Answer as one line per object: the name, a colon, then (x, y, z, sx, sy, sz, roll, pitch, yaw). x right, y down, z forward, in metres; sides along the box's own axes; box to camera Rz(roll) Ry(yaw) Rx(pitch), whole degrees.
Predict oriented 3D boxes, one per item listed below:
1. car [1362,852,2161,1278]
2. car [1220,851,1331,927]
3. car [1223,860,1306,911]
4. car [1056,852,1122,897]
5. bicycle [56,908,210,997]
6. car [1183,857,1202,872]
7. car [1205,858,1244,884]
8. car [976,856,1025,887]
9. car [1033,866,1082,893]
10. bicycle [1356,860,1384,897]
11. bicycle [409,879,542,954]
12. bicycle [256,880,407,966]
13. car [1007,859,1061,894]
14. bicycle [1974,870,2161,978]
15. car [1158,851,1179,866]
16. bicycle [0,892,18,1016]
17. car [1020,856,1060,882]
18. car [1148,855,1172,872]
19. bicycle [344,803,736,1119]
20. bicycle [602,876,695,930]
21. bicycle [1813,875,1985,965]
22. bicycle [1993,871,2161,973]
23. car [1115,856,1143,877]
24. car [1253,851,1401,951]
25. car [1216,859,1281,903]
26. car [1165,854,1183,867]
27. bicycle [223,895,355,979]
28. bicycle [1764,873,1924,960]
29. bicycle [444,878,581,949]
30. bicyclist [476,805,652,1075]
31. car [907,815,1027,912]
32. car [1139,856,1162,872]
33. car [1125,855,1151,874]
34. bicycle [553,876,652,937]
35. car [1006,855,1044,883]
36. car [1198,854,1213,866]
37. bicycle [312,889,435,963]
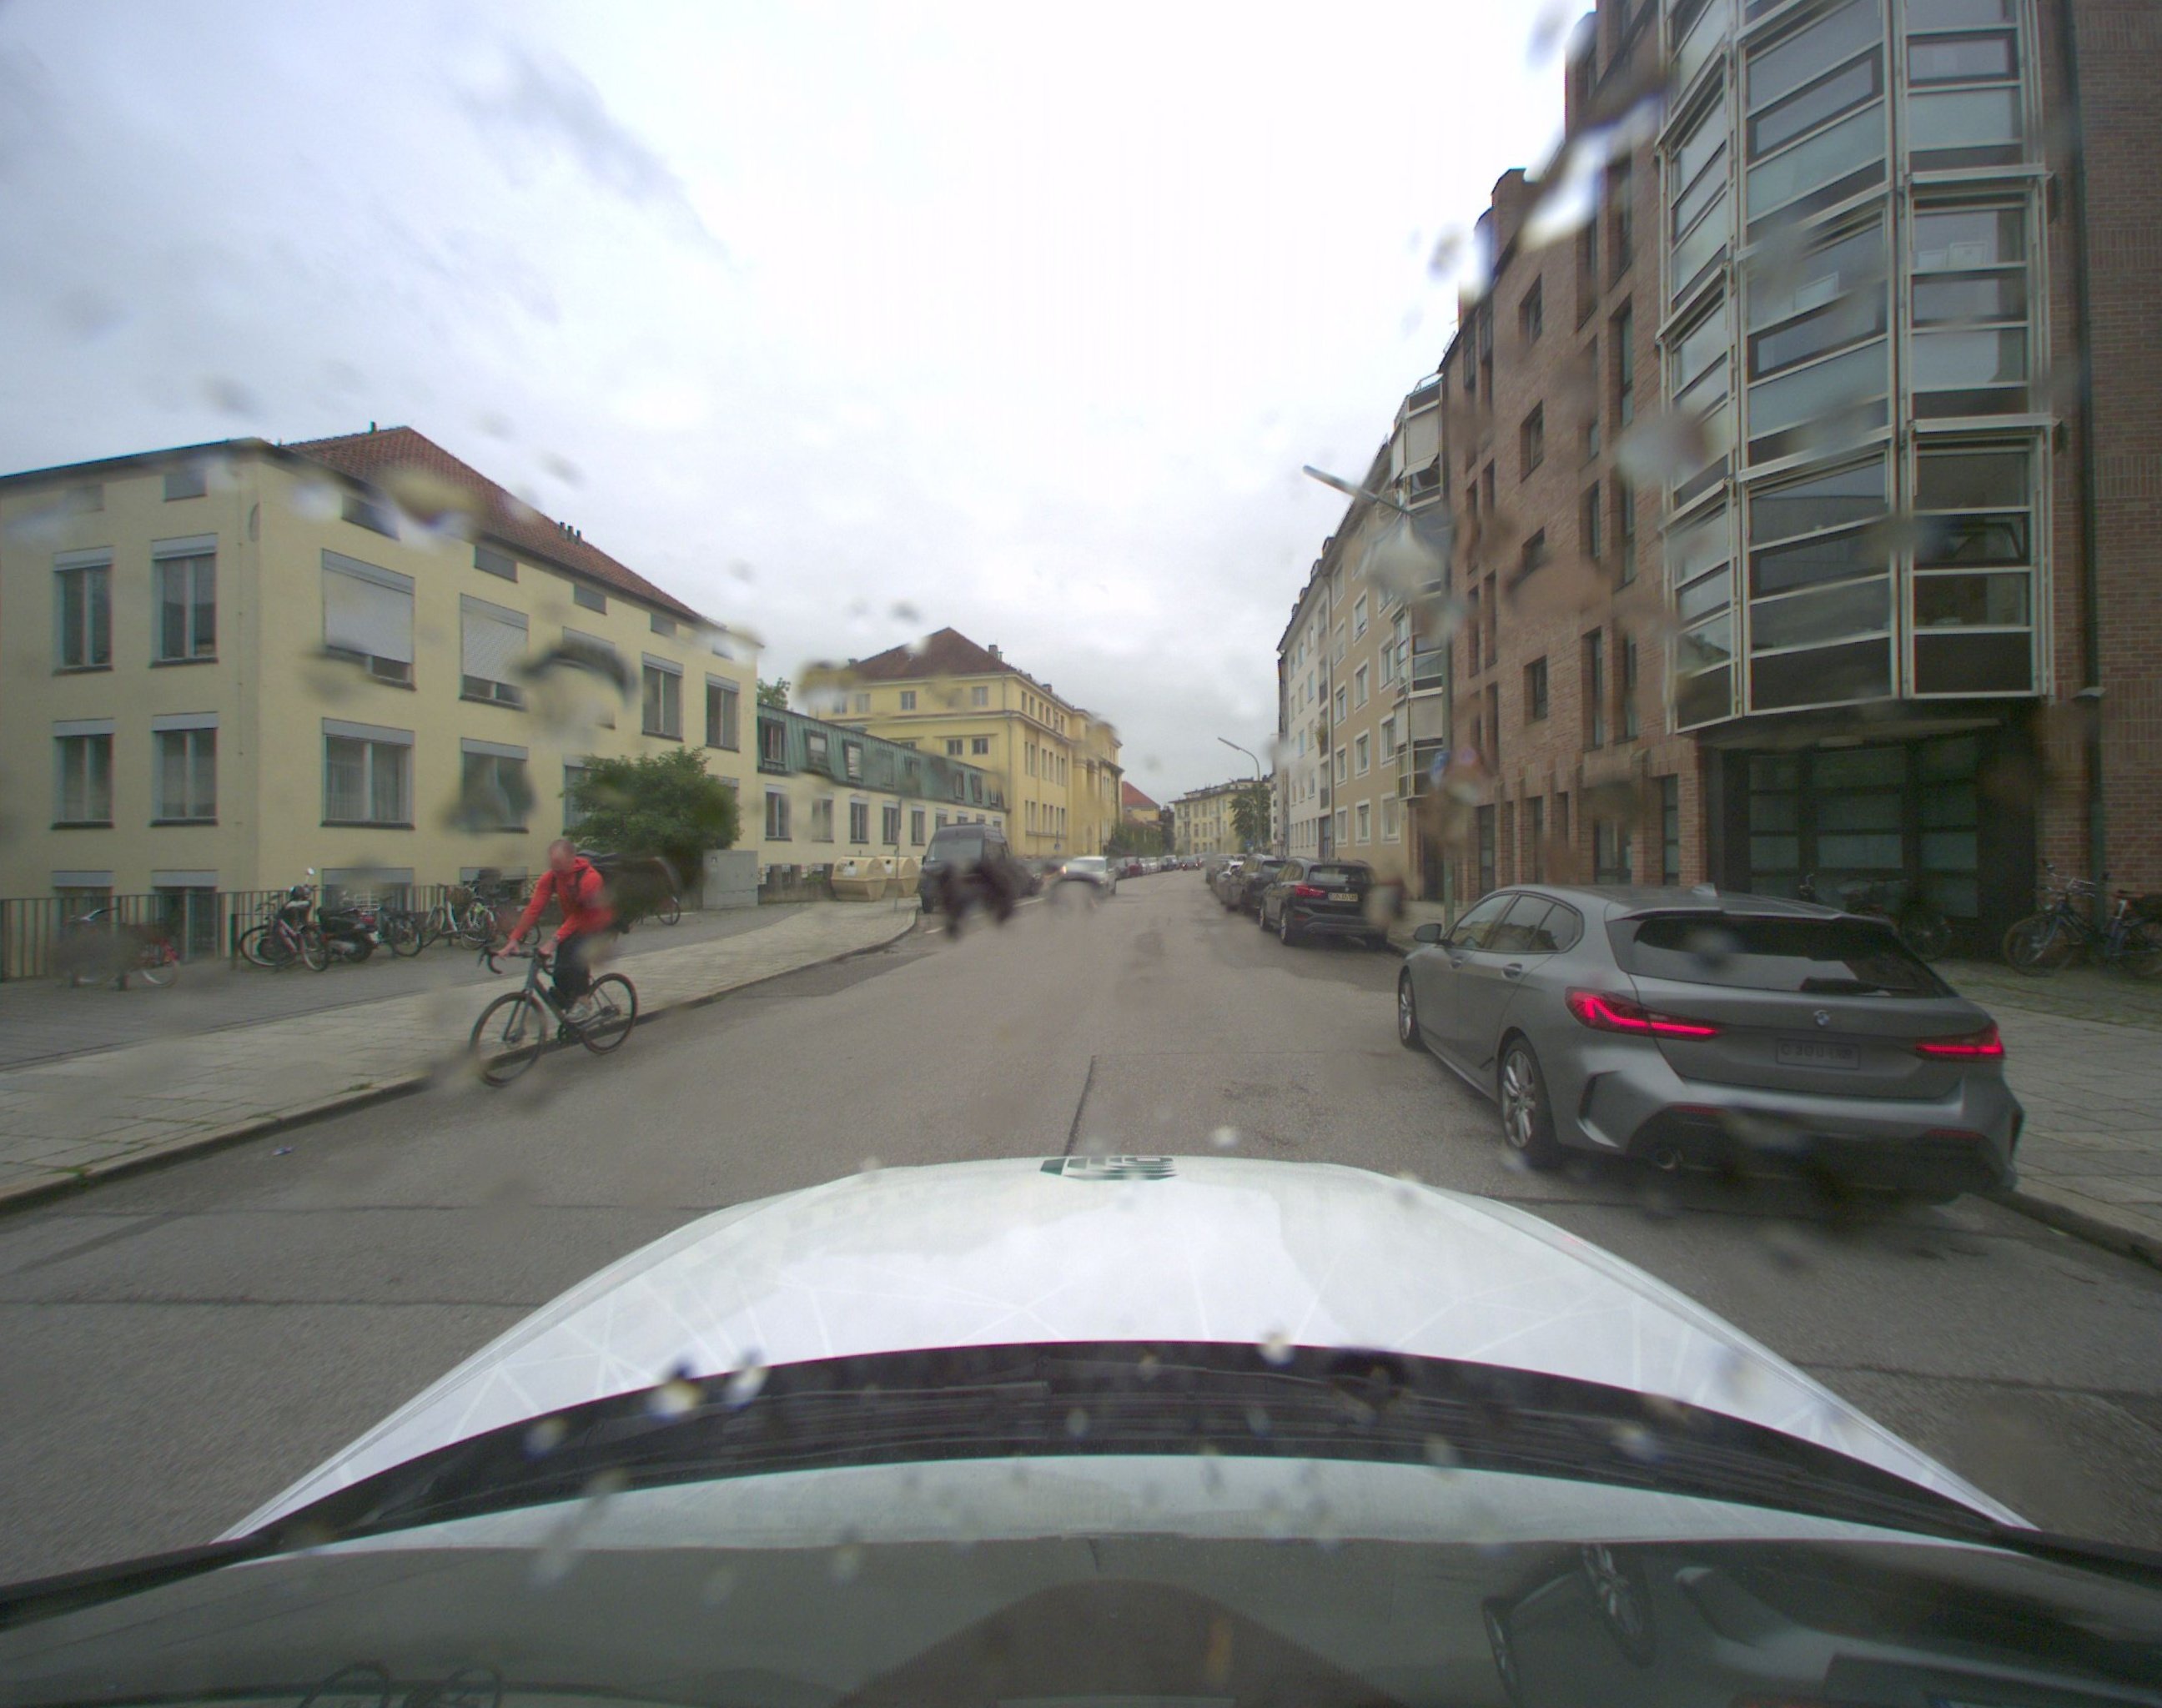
car: (3.291, 0.778, 5.267, 1.915, 1.512, 4.400, 1, 0, 7)
car: (4.760, 0.781, 20.645, 1.956, 1.602, 4.676, 1, 1, 4)
car: (5.541, 0.897, 25.054, 1.878, 1.322, 4.280, 1, 1, 5)
car: (0.408, 0.853, 32.930, 2.014, 1.621, 4.515, -2, -2, 8)
bicycle: (-11.518, 1.168, 9.895, 1.661, 0.916, 0.598, 1, 1, 17)
car: (11.368, 1.033, 82.865, 1.687, 1.444, 3.519, 1, 1, 10)
car: (8.056, 0.928, 46.074, 1.877, 1.410, 4.439, 1, 0, 7)
car: (-4.631, 0.992, 47.310, 1.707, 1.660, 3.762, 1, 1, 13)
car: (-1.176, 1.290, 42.539, 1.517, 1.202, 3.756, 1, 1, 15)
bicycle: (10.860, 0.892, 30.676, 0.465, 1.288, 2.681, 1, 1, 8)
bicycle: (-10.453, 1.054, 14.053, 2.292, 1.135, 0.584, 1, 1, 17)
bicycle: (-11.212, 1.001, 12.166, 2.533, 1.206, 0.426, -1, 0, 17)
car: (-2.097, 0.993, 37.649, 1.689, 1.453, 3.751, 1, 1, 9)
bicycle: (11.543, 0.787, 9.309, 1.835, 1.147, 0.489, 1, 1, 13)
car: (9.684, 0.483, 90.127, 1.981, 1.548, 4.012, 1, 1, 10)
bicycle: (-11.978, 0.998, 8.245, 2.088, 1.227, 0.790, 1, 1, 17)
car: (-2.741, 0.981, 54.899, 1.707, 1.660, 3.762, 1, 1, 13)
car: (7.840, 0.925, 80.527, 1.981, 1.548, 4.012, 1, 1, 10)
bicycle: (-4.110, 0.680, 6.658, 0.743, 2.013, 2.858, -3, 0, 13)
bicycle: (-9.684, 1.070, 18.243, 1.889, 1.092, 0.680, 1, 1, 17)
bicycle: (11.069, 0.848, 11.128, 0.483, 1.060, 1.998, 1, 0, 5)
bicycle: (12.011, 0.797, 9.760, 1.466, 1.147, 0.384, 1, 1, 13)
car: (3.720, 0.948, 62.364, 1.687, 1.444, 3.519, 1, 1, 10)
car: (4.597, 0.779, 15.879, 1.822, 1.602, 4.270, 1, 1, 4)
car: (6.185, 0.952, 30.608, 1.878, 1.475, 4.750, 1, 0, 5)
car: (11.901, 0.811, 103.643, 1.981, 1.548, 4.012, 1, 1, 10)
bicycle: (-11.033, 1.131, 11.346, 1.777, 1.033, 0.510, 1, 1, 17)
bicycle: (10.477, 0.816, 11.288, 0.483, 1.060, 1.998, 1, -1, 5)
bicycle: (-10.332, 1.050, 14.800, 2.467, 1.141, 0.639, 1, 1, 17)
bicyclist: (-4.129, 0.662, 6.549, 0.761, 2.013, 0.770, -4, 0, 12)
car: (-3.497, 0.337, 26.420, 2.410, 2.715, 5.962, -2, -1, 6)
car: (6.410, 0.903, 75.184, 1.687, 1.444, 3.519, 1, 1, 11)
car: (4.773, 0.822, 67.758, 1.687, 1.444, 3.519, 1, 1, 11)
bicycle: (-9.842, 1.064, 16.749, 1.941, 1.131, 0.575, 1, 1, 17)
car: (-3.494, 0.906, 51.468, 1.594, 1.660, 2.819, 1, 1, 13)
car: (15.525, 0.745, 101.344, 1.687, 1.444, 3.519, 1, 1, 10)
bicycle: (-11.102, 1.103, 12.772, 1.852, 1.029, 0.542, 1, 1, 17)
